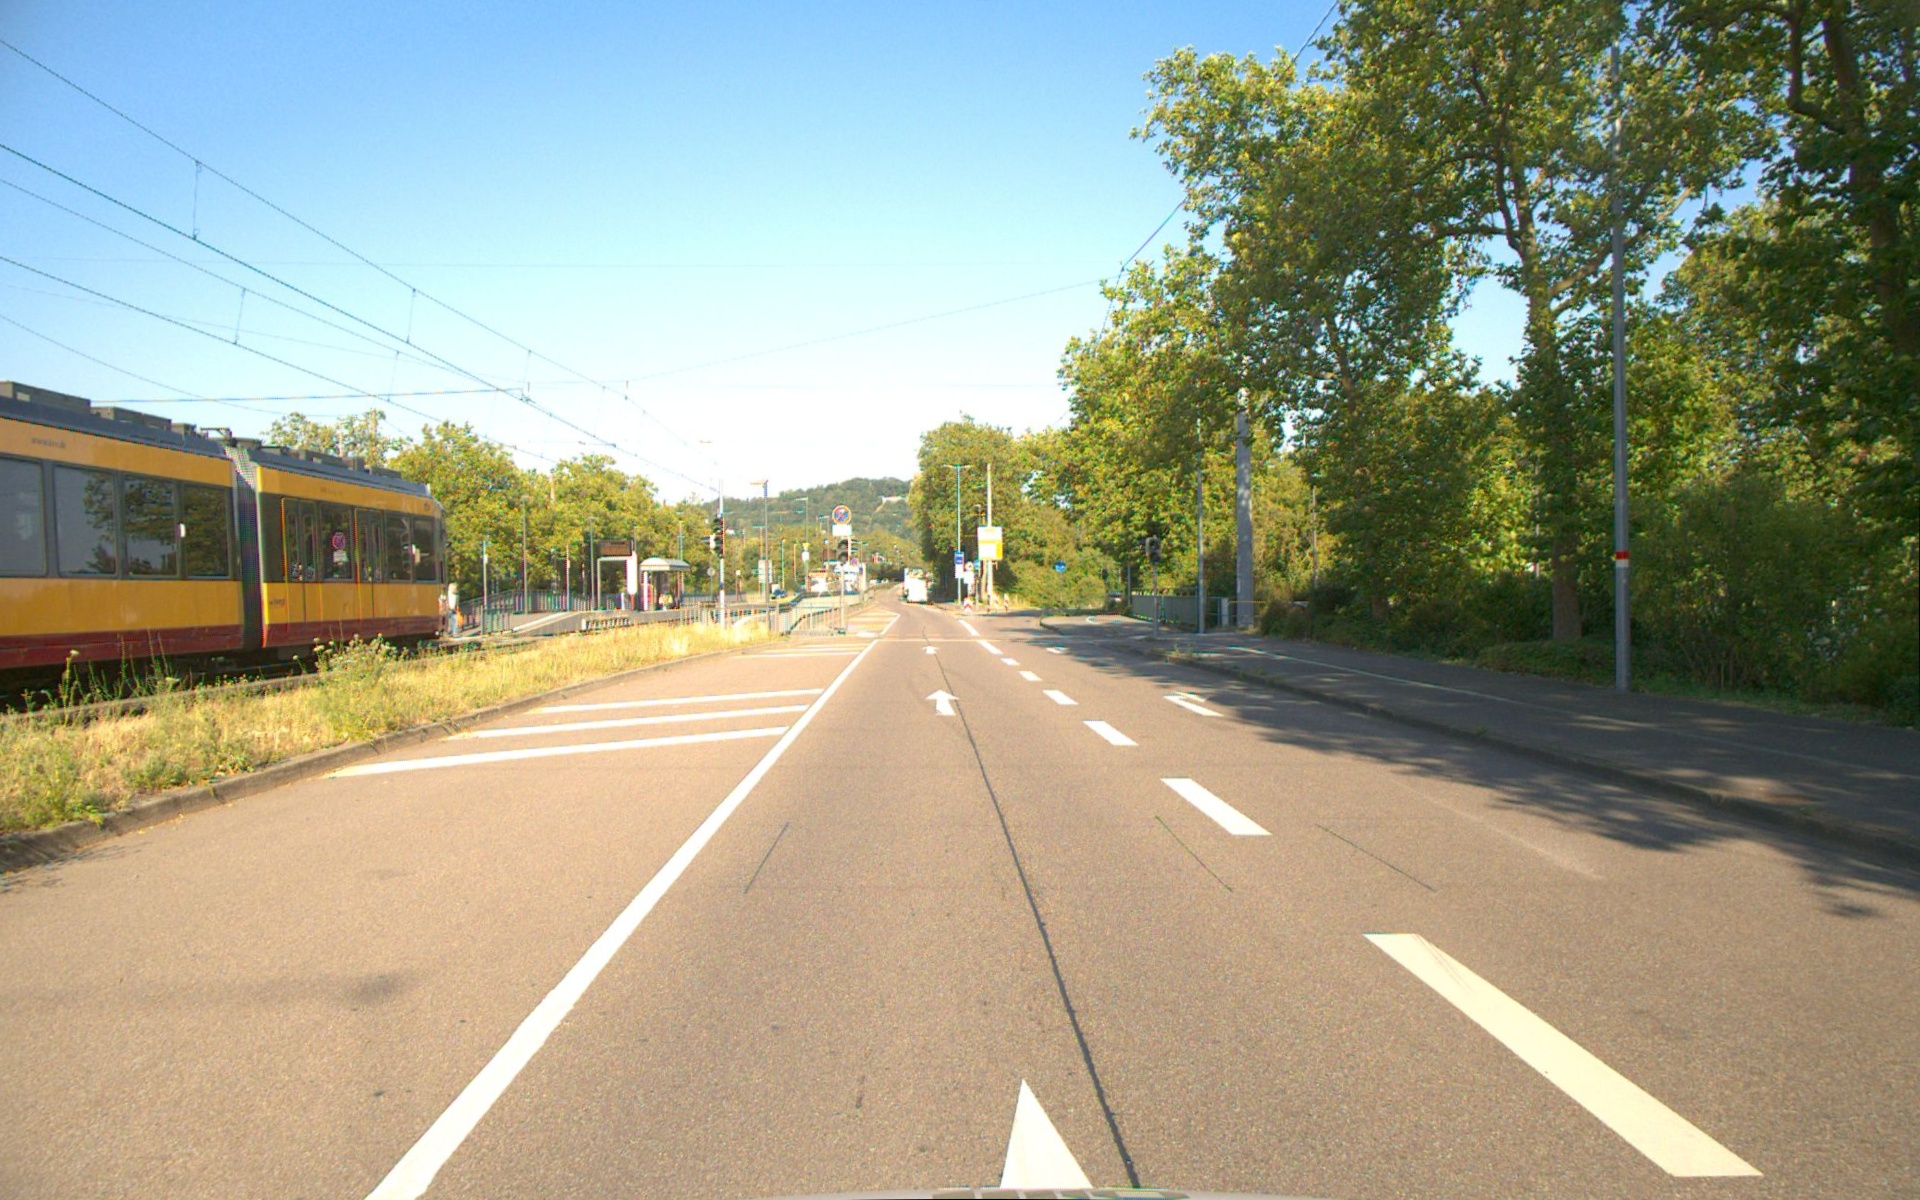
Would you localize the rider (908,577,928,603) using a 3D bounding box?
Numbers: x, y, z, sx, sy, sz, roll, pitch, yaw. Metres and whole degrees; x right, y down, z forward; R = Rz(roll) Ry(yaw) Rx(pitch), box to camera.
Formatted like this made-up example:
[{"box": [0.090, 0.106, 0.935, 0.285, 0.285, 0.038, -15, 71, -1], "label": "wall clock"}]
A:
[{"box": [-4.419, -1.078, 173.602, 2.064, 2.693, 0.737, -1, 0, 4], "label": "rider"}]

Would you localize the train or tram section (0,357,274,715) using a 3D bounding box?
[{"box": [-12.201, -0.730, 20.053, 2.767, 4.019, 12.650, 0, 0, -1], "label": "train or tram section"}]

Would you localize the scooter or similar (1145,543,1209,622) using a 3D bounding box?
[{"box": [7.941, -0.643, 60.749, 1.647, 2.763, 4.868, 0, 0, -1], "label": "scooter or similar"}]

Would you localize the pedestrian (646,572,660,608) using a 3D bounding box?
[{"box": [-17.742, -0.569, 95.566, 0.729, 2.049, 0.608, 0, 0, -1], "label": "pedestrian"}]

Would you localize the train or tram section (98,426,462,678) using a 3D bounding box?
[{"box": [-12.483, -0.787, 31.830, 2.767, 4.019, 10.831, 0, 0, -1], "label": "train or tram section"}]
